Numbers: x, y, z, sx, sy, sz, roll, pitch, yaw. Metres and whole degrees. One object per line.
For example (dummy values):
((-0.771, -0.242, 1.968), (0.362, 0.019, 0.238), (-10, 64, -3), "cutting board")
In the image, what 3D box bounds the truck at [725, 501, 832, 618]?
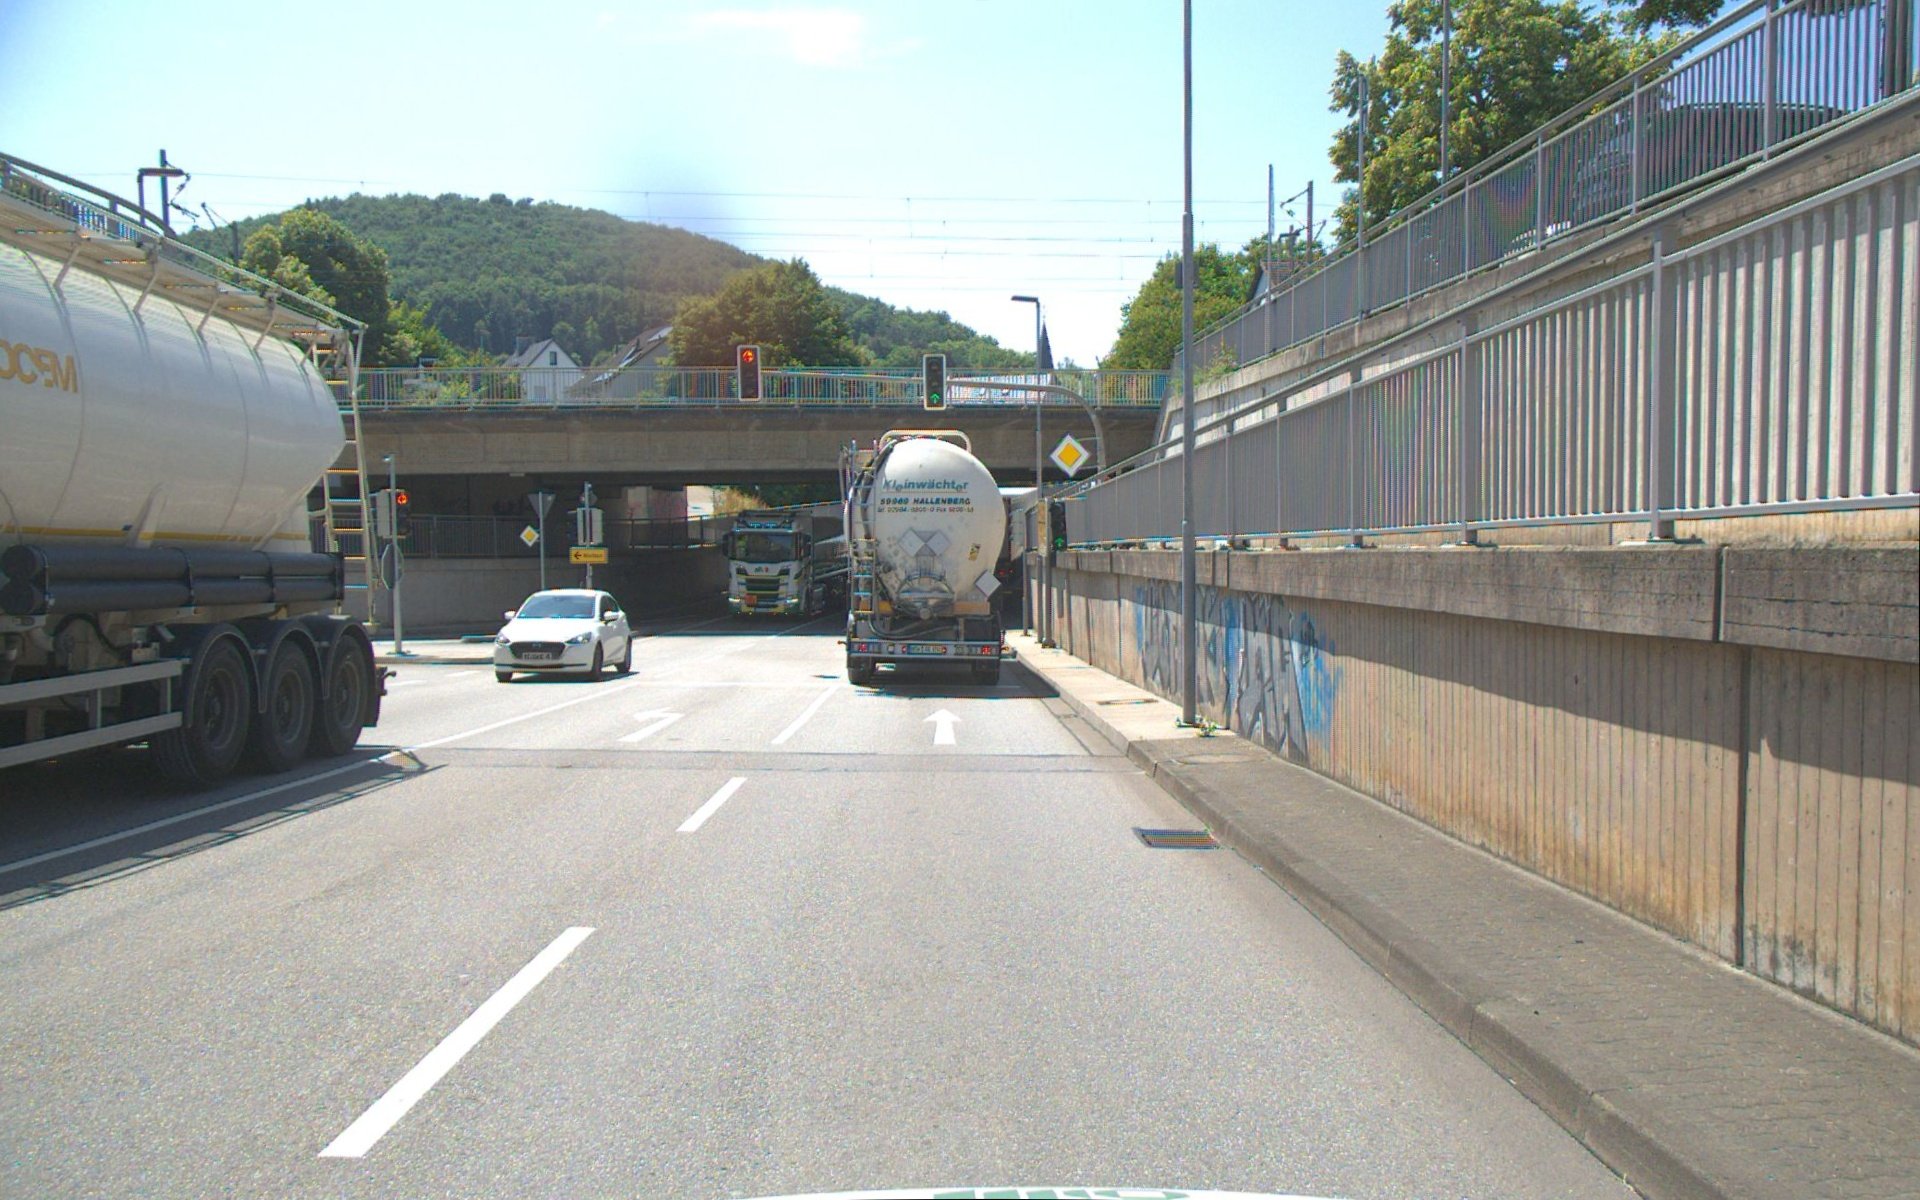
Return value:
((-6.143, -1.358, 57.150), (2.634, 3.727, 7.371), (1, 1, 2), "truck")

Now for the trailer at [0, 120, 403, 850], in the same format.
((-6.600, -0.643, 11.158), (2.557, 4.033, 9.345), (0, 0, 0), "trailer")

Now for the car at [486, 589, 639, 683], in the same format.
((-6.730, 0.554, 28.397), (1.648, 1.466, 4.093), (-1, 1, 0), "car")

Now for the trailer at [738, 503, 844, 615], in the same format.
((-6.074, -1.437, 60.847), (2.634, 3.727, 9.891), (1, 1, 1), "trailer")

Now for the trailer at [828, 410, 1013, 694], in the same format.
((-0.521, -0.744, 30.812), (2.679, 4.135, 13.313), (0, 0, 0), "trailer")

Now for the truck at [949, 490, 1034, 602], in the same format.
((1.669, -2.649, 81.048), (3.015, 5.086, 10.093), (1, 2, 7), "truck")
